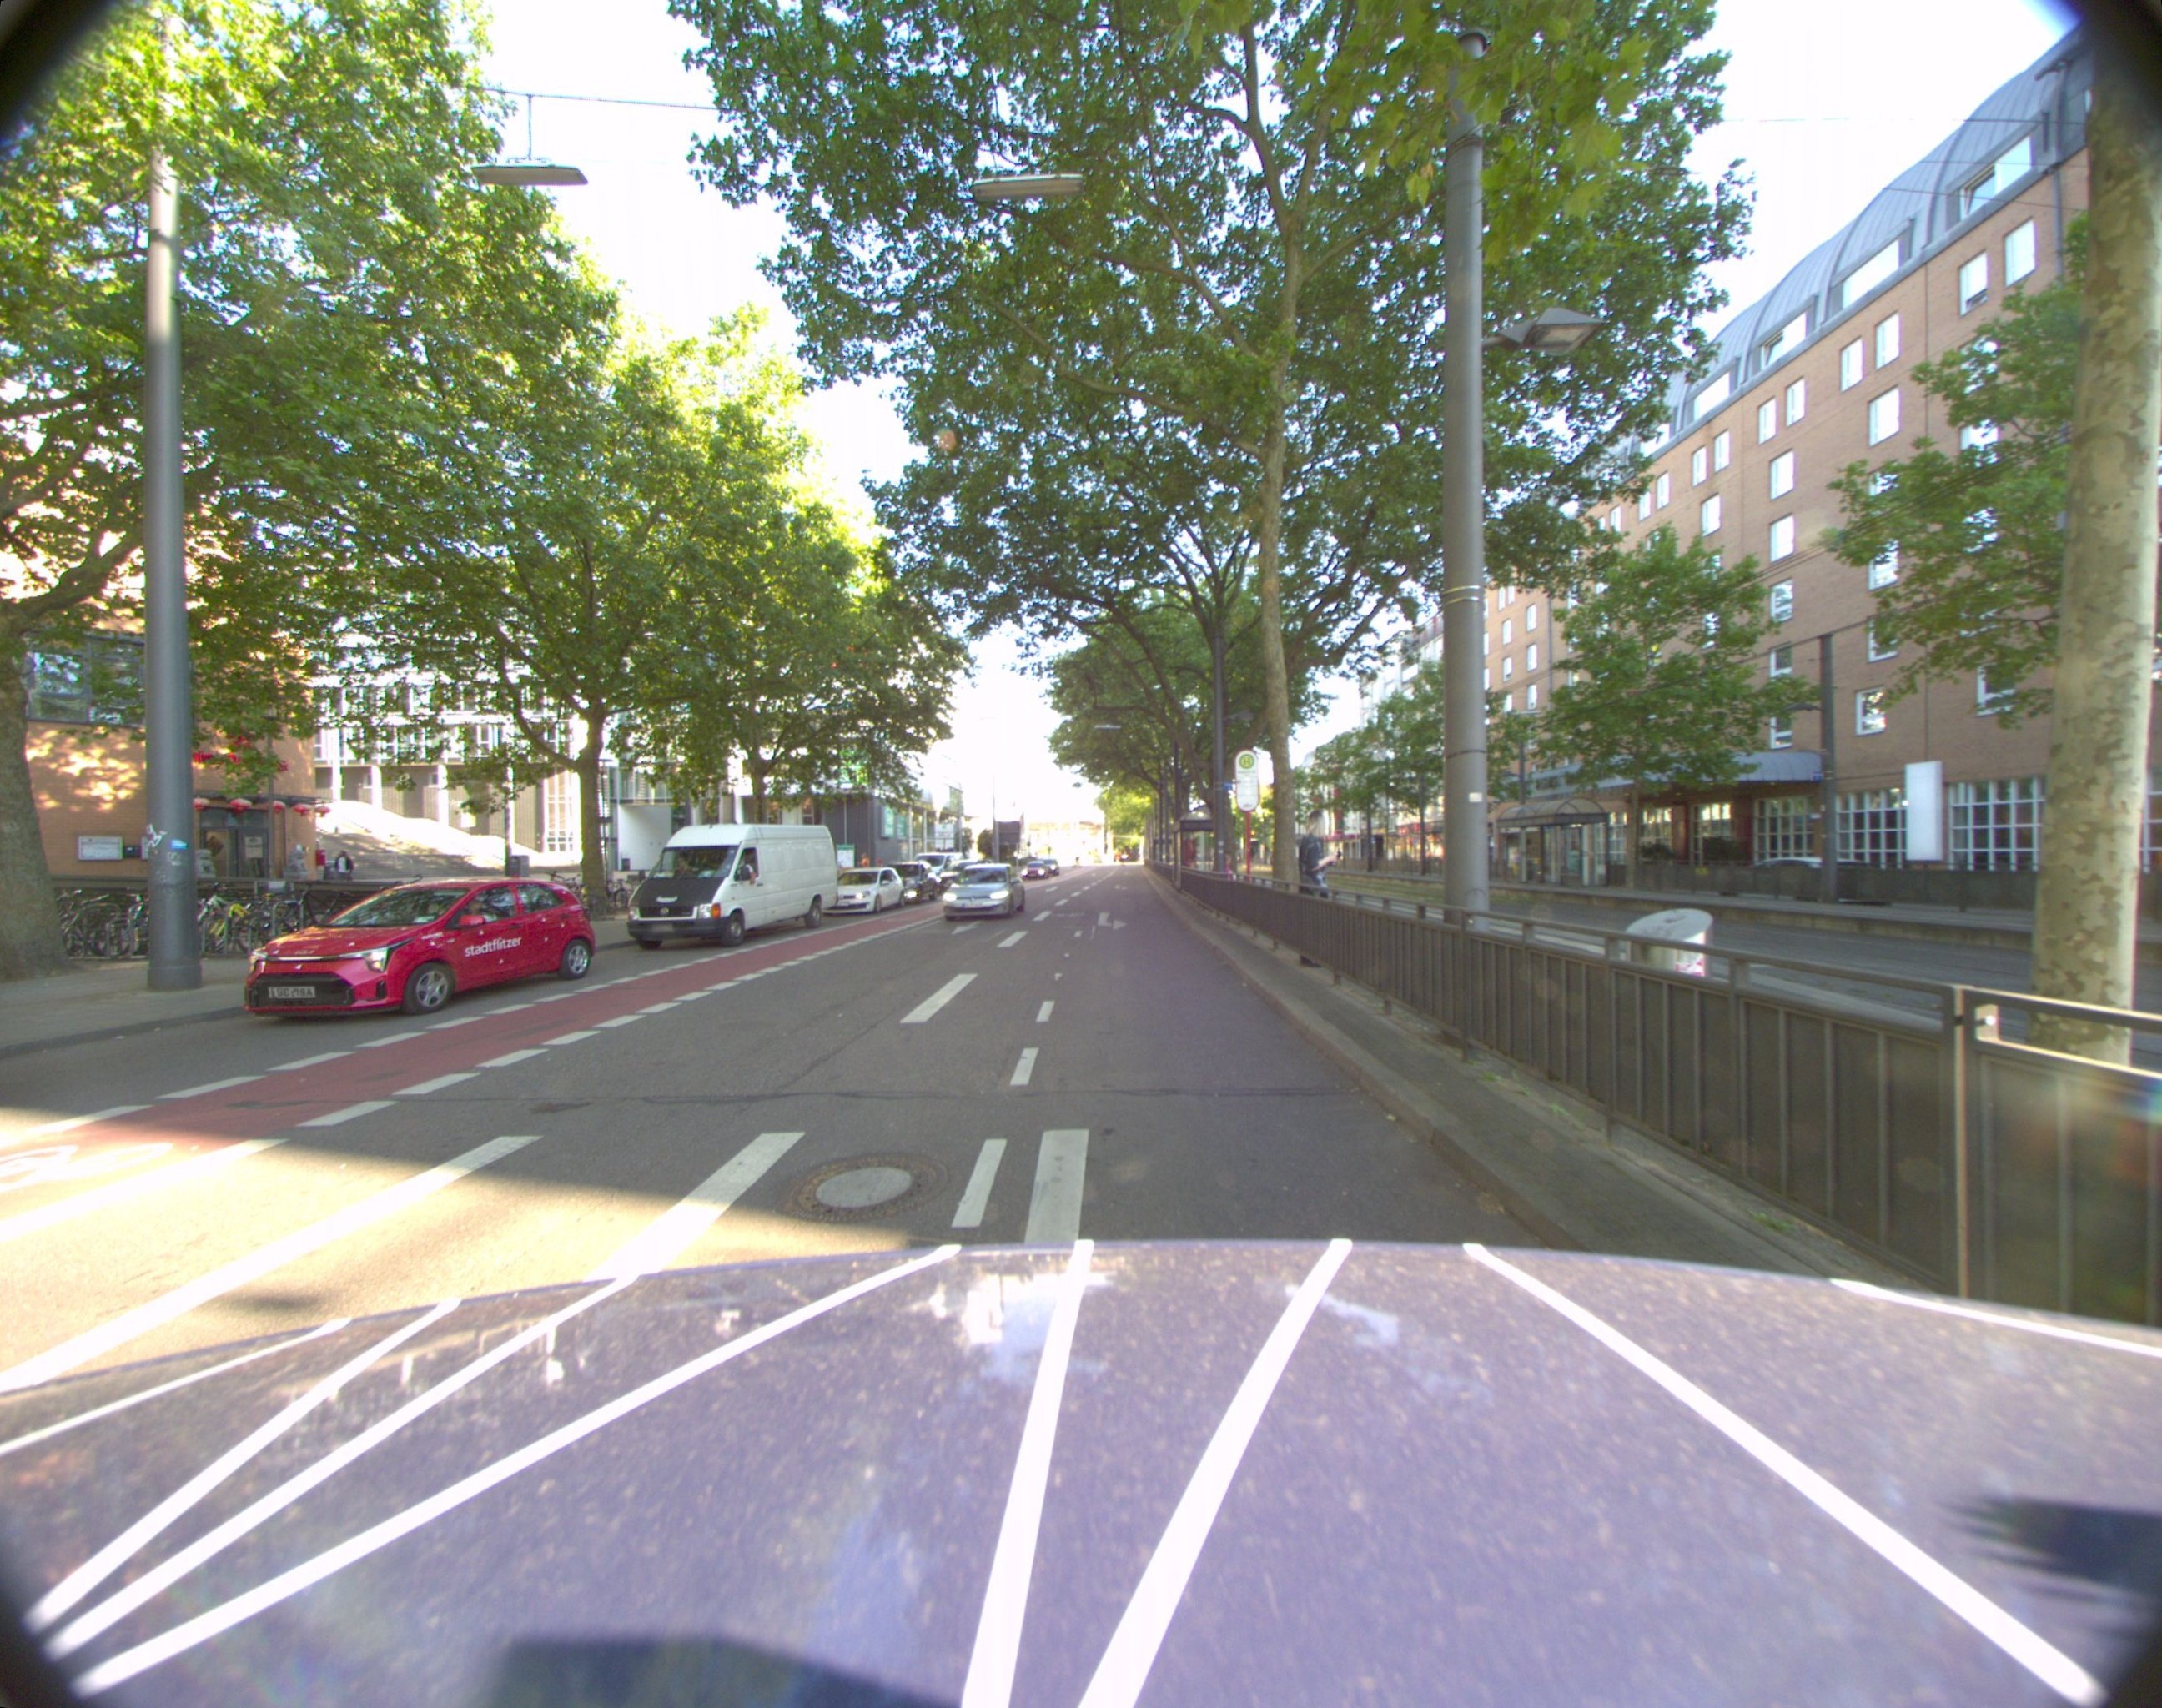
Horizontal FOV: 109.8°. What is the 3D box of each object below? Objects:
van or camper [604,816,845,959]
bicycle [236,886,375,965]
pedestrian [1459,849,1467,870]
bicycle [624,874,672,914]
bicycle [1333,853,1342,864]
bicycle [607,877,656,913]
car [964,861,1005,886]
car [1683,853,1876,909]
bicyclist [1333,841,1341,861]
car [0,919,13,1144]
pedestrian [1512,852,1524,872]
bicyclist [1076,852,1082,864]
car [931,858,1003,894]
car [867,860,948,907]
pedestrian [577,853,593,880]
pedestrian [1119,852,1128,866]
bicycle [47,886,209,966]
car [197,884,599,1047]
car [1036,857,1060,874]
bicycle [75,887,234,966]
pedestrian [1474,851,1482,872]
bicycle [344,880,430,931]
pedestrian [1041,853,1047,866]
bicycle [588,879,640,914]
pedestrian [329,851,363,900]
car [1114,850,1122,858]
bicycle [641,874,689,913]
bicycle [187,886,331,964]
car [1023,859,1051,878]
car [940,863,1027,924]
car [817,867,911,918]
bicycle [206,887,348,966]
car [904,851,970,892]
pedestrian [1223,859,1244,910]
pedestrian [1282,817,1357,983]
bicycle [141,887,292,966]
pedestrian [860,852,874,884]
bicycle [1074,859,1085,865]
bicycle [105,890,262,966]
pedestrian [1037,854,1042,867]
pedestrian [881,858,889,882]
[{"bbox_3d":[-7.524,0.605,17.118,1.998,2.563,6.575,-2,0,3],"label":"van or camper"},{"bbox_3d":[-13.316,1.194,13.130,0.482,1.187,1.850,0,0,1],"label":"bicycle"},{"bbox_3d":[27.680,0.379,55.087,0.438,1.497,0.659,0,1,23],"label":"pedestrian"},{"bbox_3d":[-14.113,1.282,24.822,0.495,1.187,1.850,0,0,1],"label":"bicycle"},{"bbox_3d":[24.503,0.393,72.593,0.451,0.998,1.753,-1,0,6],"label":"bicycle"},{"bbox_3d":[-14.657,1.317,24.820,0.522,1.088,1.797,0,0,1],"label":"bicycle"},{"bbox_3d":[-5.883,1.174,46.696,1.801,1.369,4.001,0,0,3],"label":"car"},{"bbox_3d":[20.360,0.723,22.444,1.760,1.479,4.309,-1,0,1],"label":"car"},{"bbox_3d":[24.434,-0.305,72.515,0.572,1.893,0.813,0,1,6],"label":"bicyclist"},{"bbox_3d":[-8.007,1.182,2.925,1.743,1.476,4.251,-1,0,0],"label":"car"},{"bbox_3d":[30.621,0.558,53.232,0.519,1.427,0.516,0,1,4],"label":"pedestrian"},{"bbox_3d":[-0.294,0.564,112.280,0.716,1.707,0.672,-1,1,-30],"label":"bicyclist"},{"bbox_3d":[-5.486,1.015,37.088,1.964,1.610,4.335,-1,0,14],"label":"car"},{"bbox_3d":[-6.705,1.085,29.788,1.818,1.610,4.229,-1,0,5],"label":"car"},{"bbox_3d":[-28.307,0.711,43.372,0.719,1.549,0.639,-1,1,-35],"label":"pedestrian"},{"bbox_3d":[6.073,0.748,108.908,0.859,2.002,0.800,-3,2,-40],"label":"pedestrian"},{"bbox_3d":[-16.385,1.198,13.140,0.435,1.187,1.850,0,0,1],"label":"bicycle"},{"bbox_3d":[-7.946,1.178,9.374,1.606,1.449,3.651,-1,0,0],"label":"car"},{"bbox_3d":[-2.948,1.040,68.322,1.801,1.438,4.001,0,0,3],"label":"car"},{"bbox_3d":[-15.922,1.203,13.137,0.458,1.187,1.850,0,0,1],"label":"bicycle"},{"bbox_3d":[28.636,0.515,54.804,0.438,1.511,0.659,0,1,23],"label":"pedestrian"},{"bbox_3d":[-17.846,1.286,19.593,0.517,1.187,1.790,0,0,1],"label":"bicycle"},{"bbox_3d":[-4.556,0.704,93.930,0.648,1.644,0.643,-1,1,1],"label":"pedestrian"},{"bbox_3d":[-15.218,1.365,24.796,0.516,1.027,1.850,0,0,1],"label":"bicycle"},{"bbox_3d":[-30.896,0.898,31.945,0.875,2.025,0.586,0,1,6],"label":"pedestrian"},{"bbox_3d":[10.112,-0.050,207.467,1.998,2.002,4.001,-1,0,4],"label":"car"},{"bbox_3d":[-13.570,1.269,24.842,0.522,1.187,1.850,0,0,1],"label":"bicycle"},{"bbox_3d":[-14.325,1.201,13.326,0.484,1.187,1.850,0,0,1],"label":"bicycle"},{"bbox_3d":[-3.503,1.147,60.823,1.801,1.369,4.001,0,0,3],"label":"car"},{"bbox_3d":[-2.625,1.041,21.340,1.733,1.432,4.000,-2,0,2],"label":"car"},{"bbox_3d":[-6.996,1.186,24.880,1.682,1.420,4.001,-1,0,3],"label":"car"},{"bbox_3d":[-13.819,1.205,13.136,0.448,1.187,1.850,0,0,1],"label":"bicycle"},{"bbox_3d":[-7.541,0.864,40.336,1.965,1.983,4.960,-1,0,7],"label":"car"},{"bbox_3d":[3.934,0.778,19.625,0.500,1.308,0.419,0,1,8],"label":"pedestrian"},{"bbox_3d":[2.812,0.514,8.988,0.623,1.873,0.605,-2,3,-11],"label":"pedestrian"},{"bbox_3d":[-14.841,1.200,13.126,0.447,1.187,1.850,0,0,1],"label":"bicycle"},{"bbox_3d":[-12.044,0.774,42.740,0.627,1.758,0.451,-1,1,2],"label":"pedestrian"},{"bbox_3d":[-0.226,1.139,112.303,1.673,0.879,0.579,-1,1,-31],"label":"bicycle"},{"bbox_3d":[-15.424,1.236,13.135,0.485,1.118,1.850,0,0,1],"label":"bicycle"},{"bbox_3d":[-5.395,0.829,98.732,0.611,1.644,0.583,-1,1,1],"label":"pedestrian"},{"bbox_3d":[-11.358,0.941,43.974,0.301,1.367,0.502,-1,1,4],"label":"pedestrian"}]
